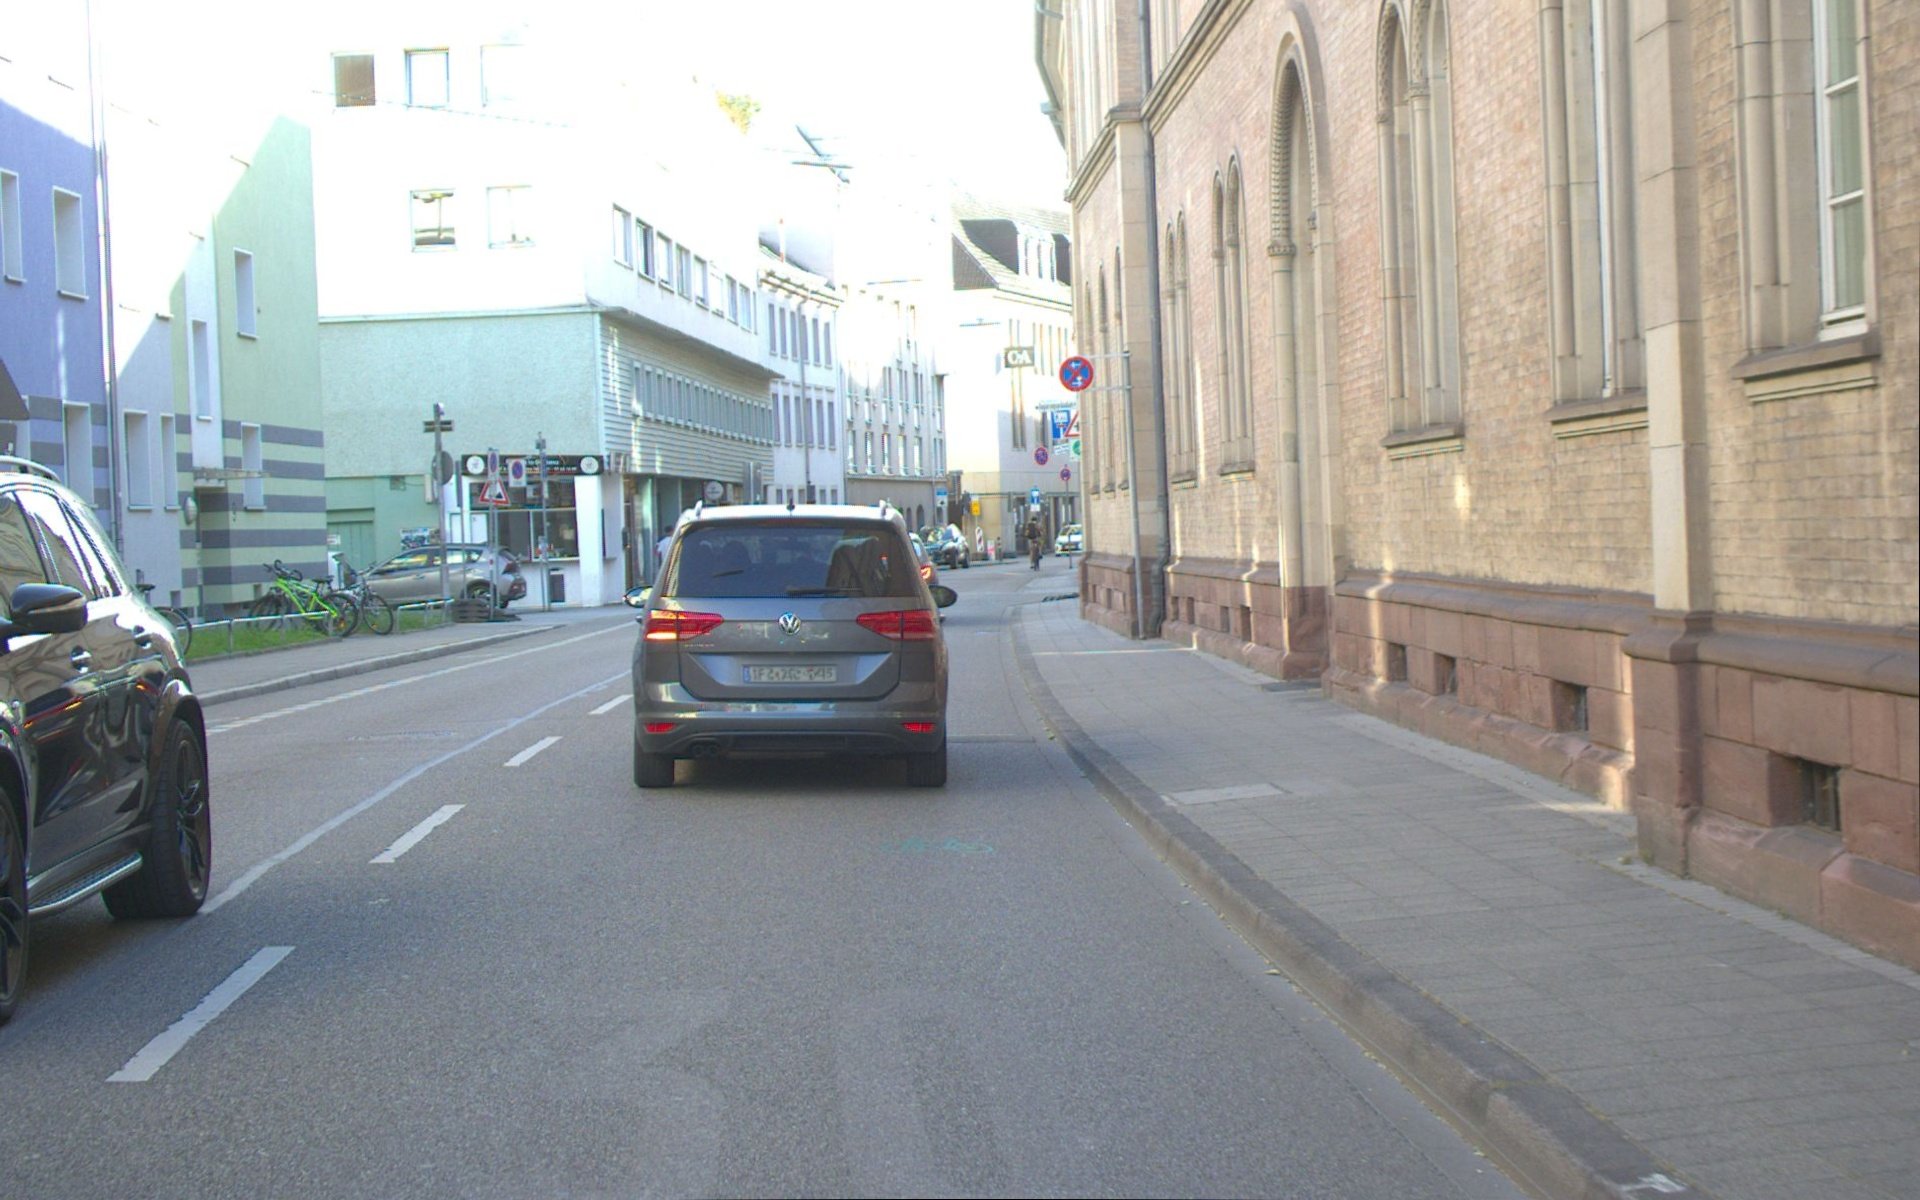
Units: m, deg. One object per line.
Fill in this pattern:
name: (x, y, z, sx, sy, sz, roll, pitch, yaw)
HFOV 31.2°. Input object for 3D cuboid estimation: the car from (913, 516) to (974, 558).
car: (-0.609, -2.399, 130.325, 1.866, 1.463, 3.833, -2, 2, 6)

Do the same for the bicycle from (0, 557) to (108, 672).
bicycle: (-10.400, 0.170, 38.493, 1.579, 1.237, 0.384, -2, 1, -1)

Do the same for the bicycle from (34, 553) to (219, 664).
bicycle: (-9.905, 0.094, 40.879, 2.008, 1.227, 0.623, -2, 1, -1)

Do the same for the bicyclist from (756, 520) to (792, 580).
bicyclist: (-4.862, -1.311, 89.845, 0.831, 1.556, 0.759, -2, 1, 1)

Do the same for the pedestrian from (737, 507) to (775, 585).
pedestrian: (-4.860, -1.285, 81.840, 0.556, 1.823, 0.730, -1, 1, 25)

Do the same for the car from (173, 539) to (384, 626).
car: (-12.819, -0.344, 64.780, 3.501, 1.438, 1.813, -3, 2, 3)

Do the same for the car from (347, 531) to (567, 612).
car: (-10.297, -0.586, 70.591, 4.098, 1.438, 1.948, -3, 2, 3)

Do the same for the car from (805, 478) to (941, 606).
car: (-1.327, -0.924, 53.674, 1.993, 1.875, 4.000, -2, 2, -1)

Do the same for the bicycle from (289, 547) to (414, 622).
bicycle: (-9.654, -0.251, 54.593, 1.928, 1.175, 0.613, 0, 1, -8)

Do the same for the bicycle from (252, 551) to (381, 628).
bicycle: (-9.946, -0.163, 53.129, 1.928, 1.175, 0.614, 0, 1, -14)

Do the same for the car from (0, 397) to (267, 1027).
car: (-3.842, 0.327, 11.952, 1.900, 1.828, 5.095, -4, 1, -2)

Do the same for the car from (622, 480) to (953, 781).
car: (-1.006, 0.122, 20.559, 1.762, 1.601, 4.001, 1, 1, -2)

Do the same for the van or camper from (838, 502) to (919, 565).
van or camper: (-2.678, -2.225, 114.158, 1.994, 2.007, 4.482, -2, 1, 7)

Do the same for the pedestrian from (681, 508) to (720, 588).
pedestrian: (-5.973, -1.207, 79.215, 0.556, 1.823, 0.730, -1, 1, 25)

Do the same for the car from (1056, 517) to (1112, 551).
car: (5.790, -3.087, 160.426, 1.735, 1.463, 3.998, -2, 1, 15)
